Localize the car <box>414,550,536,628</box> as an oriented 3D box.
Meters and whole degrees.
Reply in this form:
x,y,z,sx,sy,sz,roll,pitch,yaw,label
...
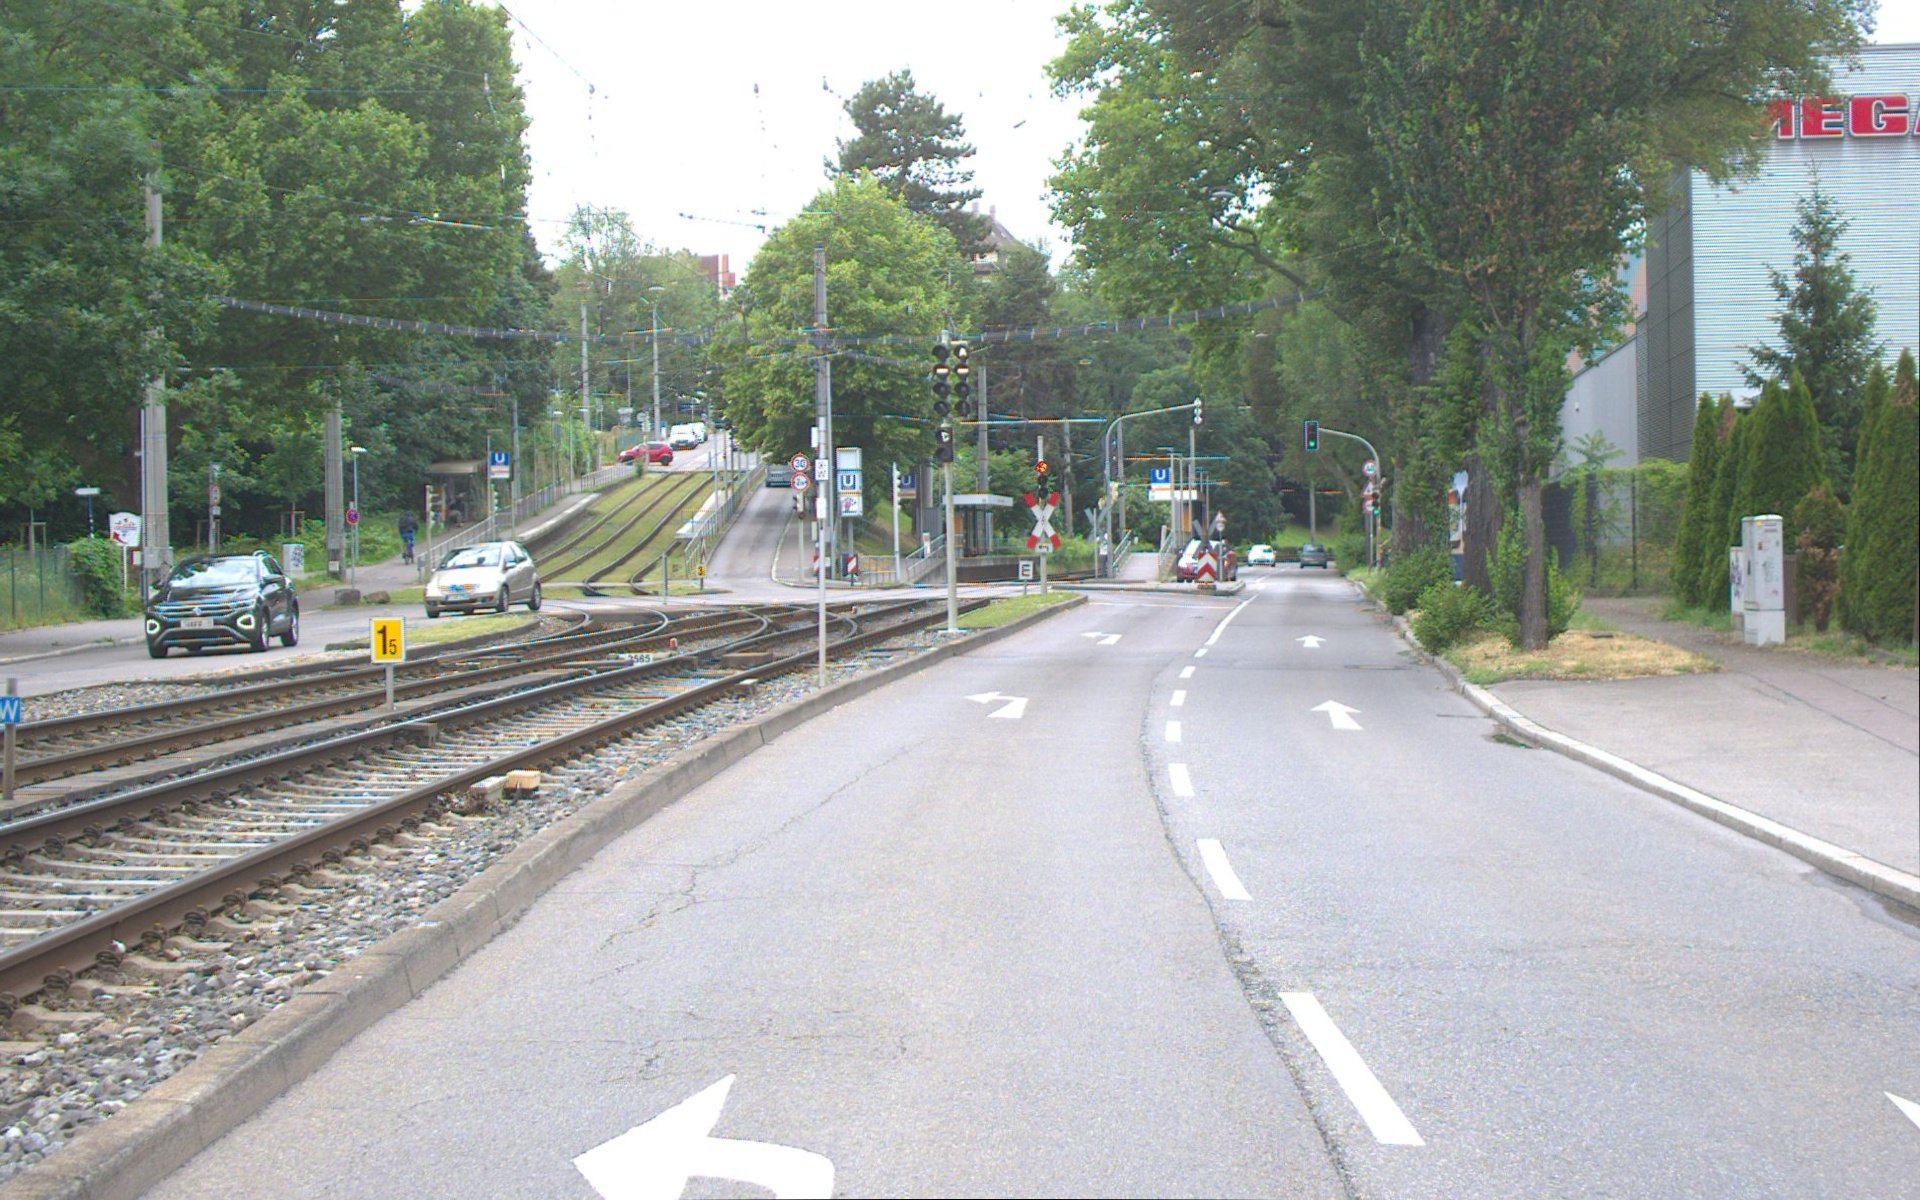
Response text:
x,y,z,sx,sy,sz,roll,pitch,yaw,label
-10.720,-0.274,76.235,1.891,1.526,4.256,-4,1,2,car

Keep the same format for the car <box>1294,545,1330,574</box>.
x,y,z,sx,sy,sz,roll,pitch,yaw,label
22.456,-2.606,219.500,1.993,1.809,4.000,-1,1,2,car

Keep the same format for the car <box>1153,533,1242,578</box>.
x,y,z,sx,sy,sz,roll,pitch,yaw,label
8.025,-1.505,115.646,1.995,1.510,4.497,0,1,17,car

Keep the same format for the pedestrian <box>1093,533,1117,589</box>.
x,y,z,sx,sy,sz,roll,pitch,yaw,label
4.842,-1.293,114.500,0.769,1.846,0.910,-1,0,3,pedestrian

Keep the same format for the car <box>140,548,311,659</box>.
x,y,z,sx,sy,sz,roll,pitch,yaw,label
-11.417,0.019,53.697,1.687,1.526,4.256,-4,1,0,car

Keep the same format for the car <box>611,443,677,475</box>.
x,y,z,sx,sy,sz,roll,pitch,yaw,label
-21.325,-9.505,231.899,3.988,2.007,1.999,-1,1,10,car

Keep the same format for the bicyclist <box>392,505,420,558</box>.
x,y,z,sx,sy,sz,roll,pitch,yaw,label
-19.649,-2.429,121.901,0.821,1.843,1.052,-1,1,-2,bicyclist

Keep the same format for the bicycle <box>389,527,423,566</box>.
x,y,z,sx,sy,sz,roll,pitch,yaw,label
-19.621,-1.889,121.885,0.824,1.339,2.997,-1,1,-2,bicycle
